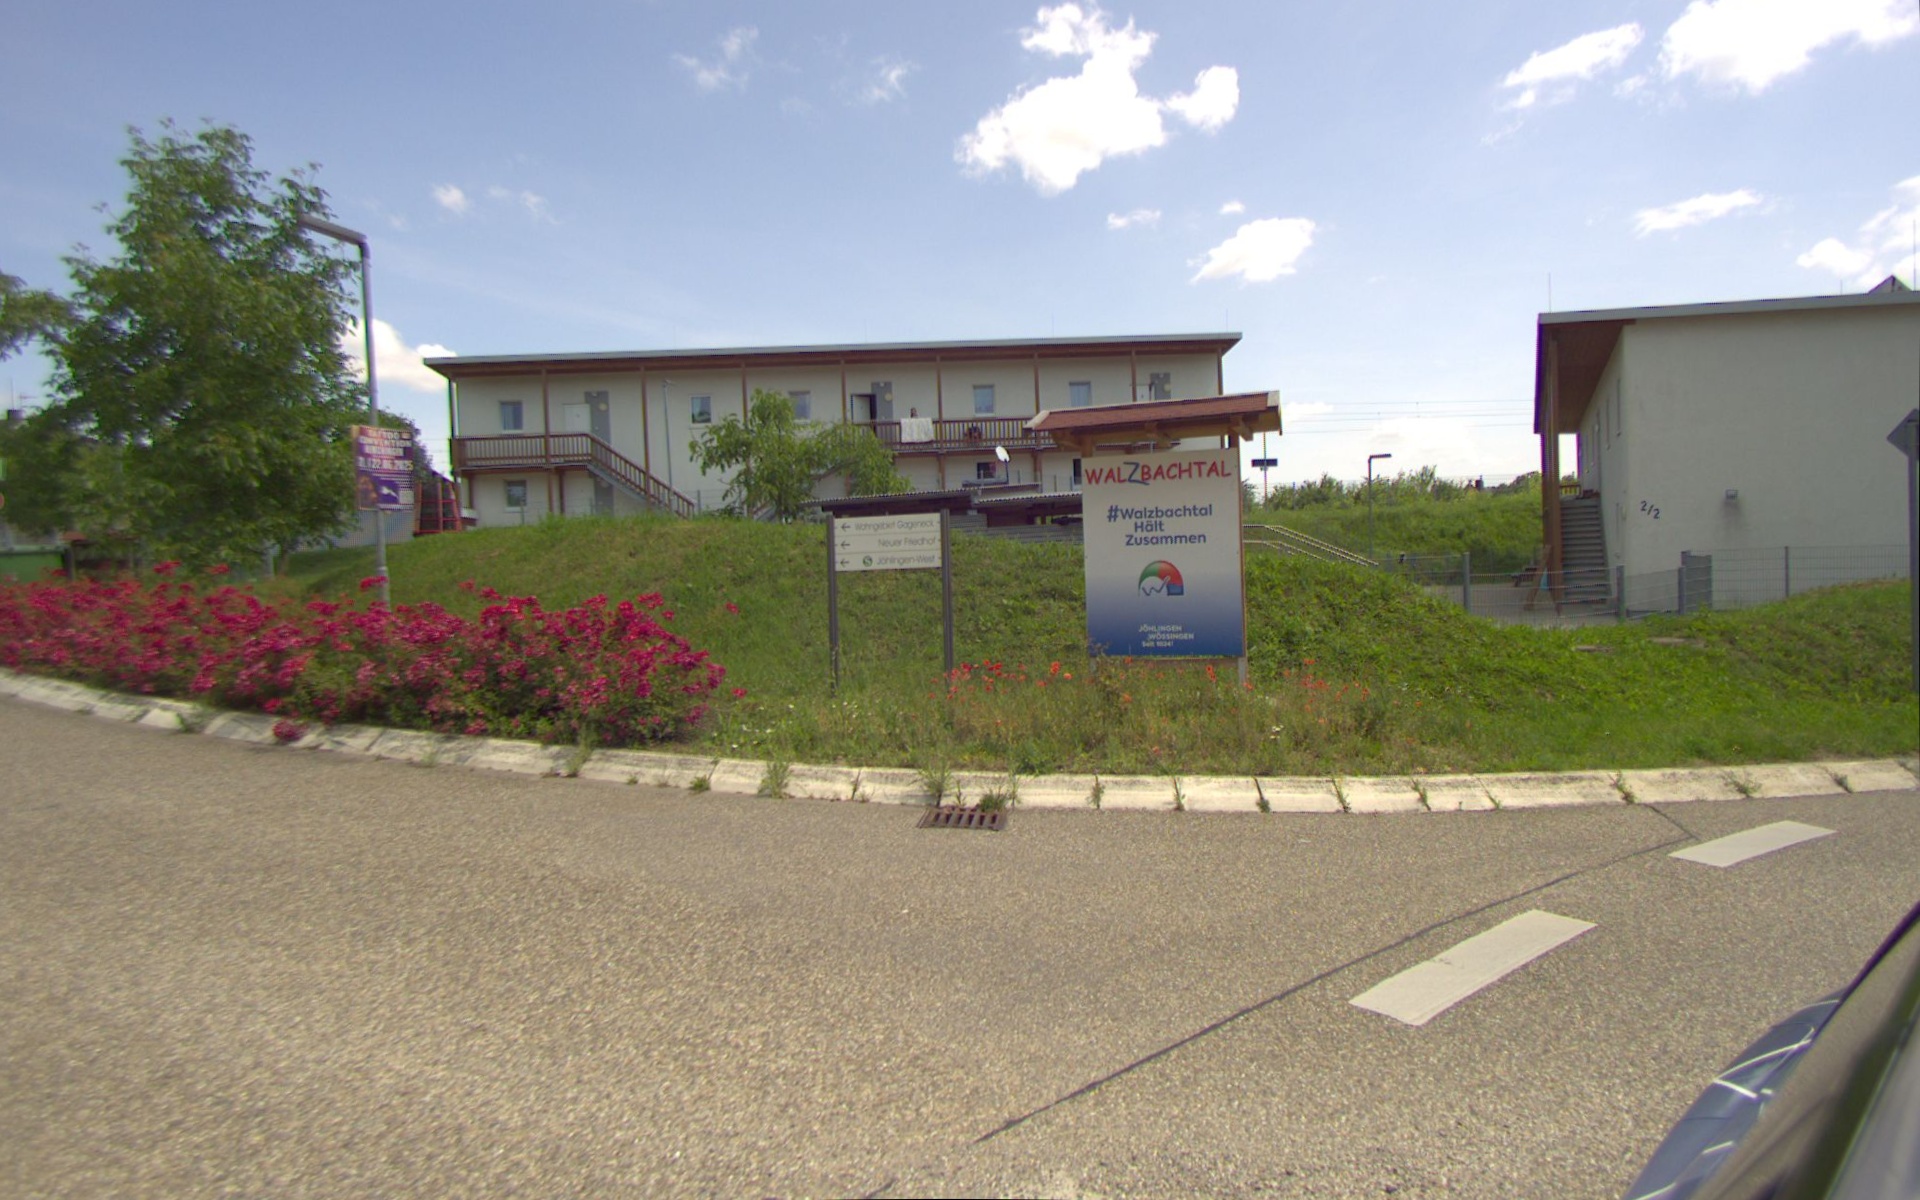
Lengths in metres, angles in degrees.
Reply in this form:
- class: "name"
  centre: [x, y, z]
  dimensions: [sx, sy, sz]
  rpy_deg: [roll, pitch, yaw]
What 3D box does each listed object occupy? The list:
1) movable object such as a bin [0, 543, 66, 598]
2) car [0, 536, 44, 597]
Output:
- class: "movable object such as a bin"
  centre: [-20.625, -0.636, 22.253]
  dimensions: [0.964, 1.117, 1.346]
  rpy_deg: [-4, -2, 42]
- class: "car"
  centre: [-31.771, -1.064, 31.107]
  dimensions: [1.982, 1.792, 5.009]
  rpy_deg: [-3, -2, 29]
